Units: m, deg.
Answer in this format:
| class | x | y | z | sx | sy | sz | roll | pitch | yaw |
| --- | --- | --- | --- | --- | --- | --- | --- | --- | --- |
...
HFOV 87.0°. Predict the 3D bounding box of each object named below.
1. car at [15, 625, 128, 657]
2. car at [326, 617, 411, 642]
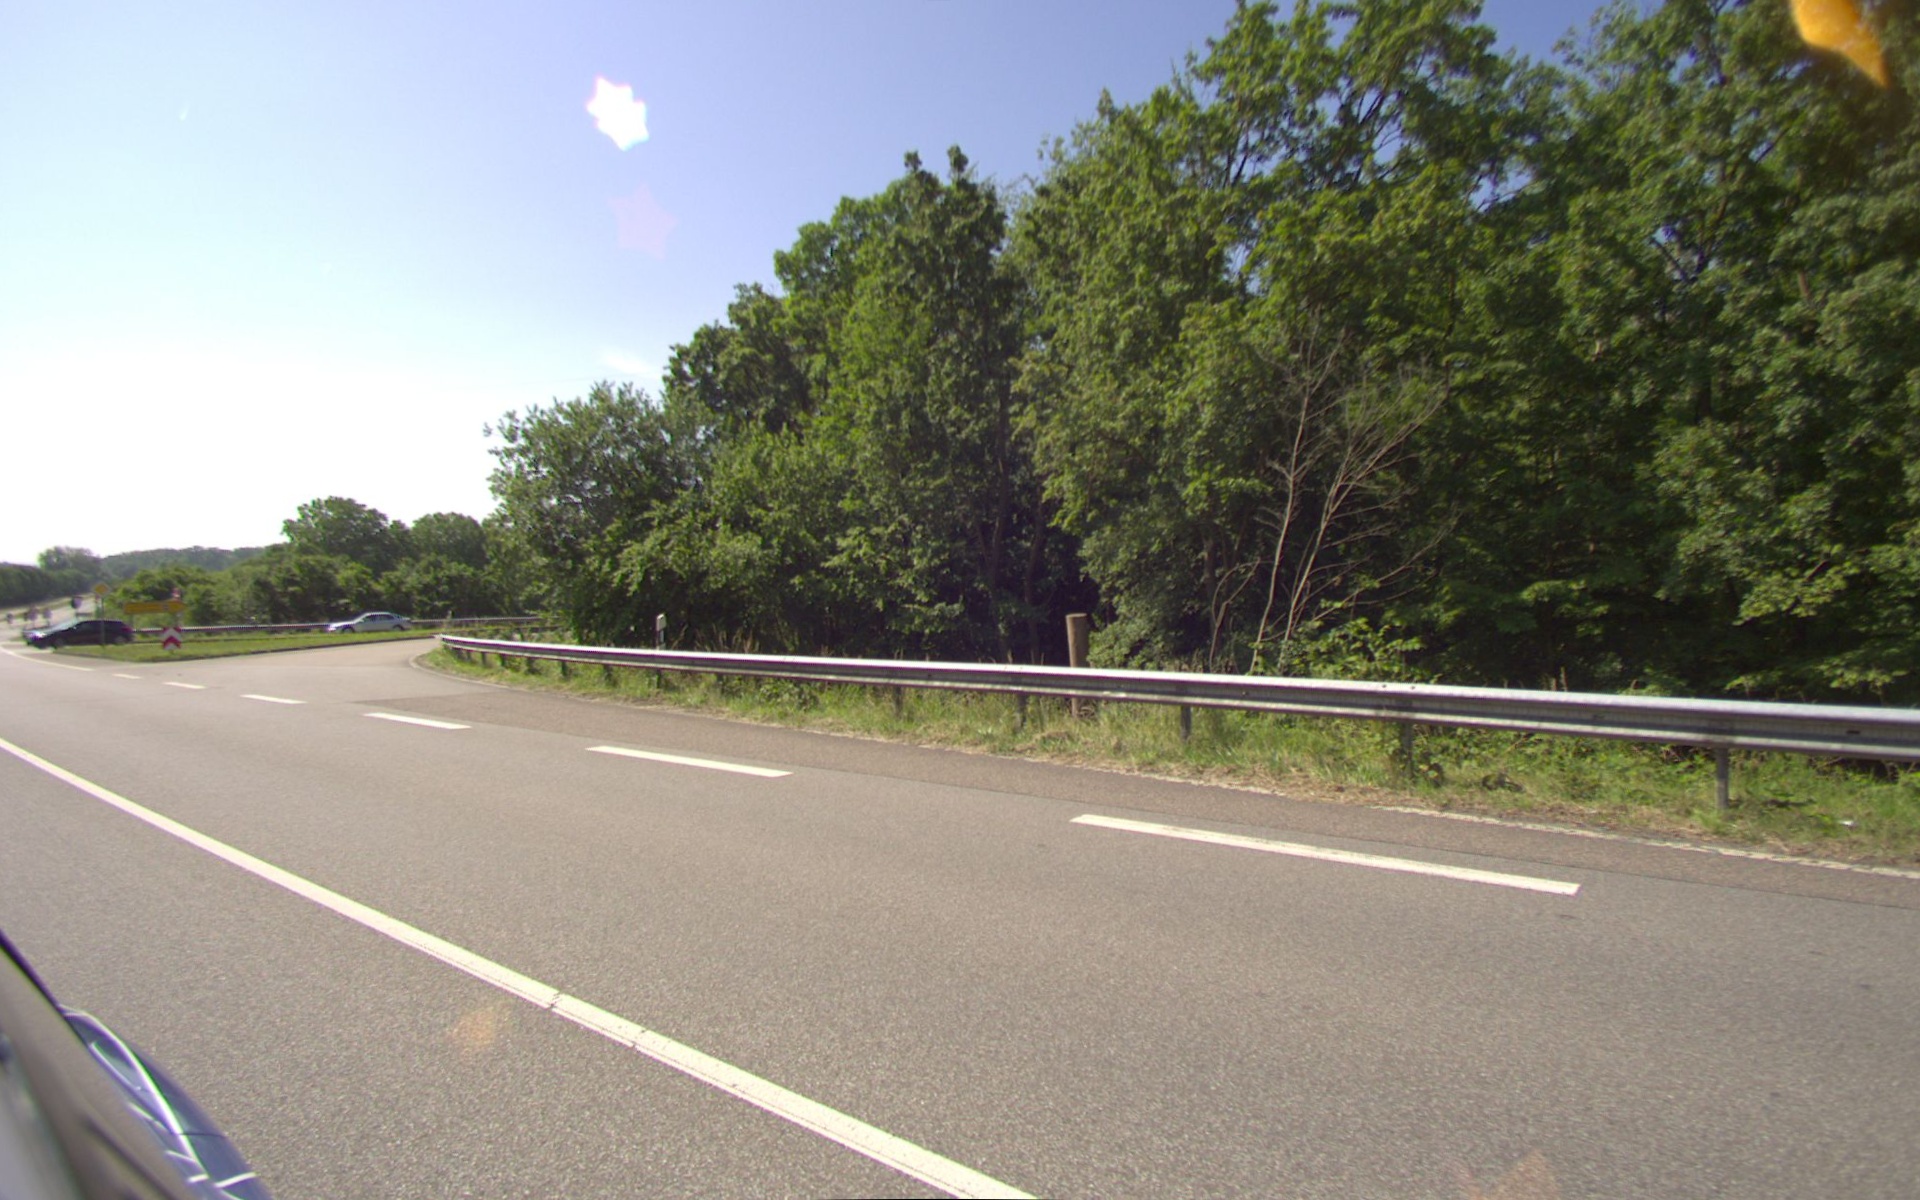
| class | x | y | z | sx | sy | sz | roll | pitch | yaw |
| --- | --- | --- | --- | --- | --- | --- | --- | --- | --- |
| car | -44.999 | 2.065 | 51.353 | 1.778 | 1.425 | 3.967 | -2 | 0 | 24 |
| car | -36.610 | 1.823 | 62.659 | 4.309 | 1.395 | 1.791 | -1 | -1 | -40 |
